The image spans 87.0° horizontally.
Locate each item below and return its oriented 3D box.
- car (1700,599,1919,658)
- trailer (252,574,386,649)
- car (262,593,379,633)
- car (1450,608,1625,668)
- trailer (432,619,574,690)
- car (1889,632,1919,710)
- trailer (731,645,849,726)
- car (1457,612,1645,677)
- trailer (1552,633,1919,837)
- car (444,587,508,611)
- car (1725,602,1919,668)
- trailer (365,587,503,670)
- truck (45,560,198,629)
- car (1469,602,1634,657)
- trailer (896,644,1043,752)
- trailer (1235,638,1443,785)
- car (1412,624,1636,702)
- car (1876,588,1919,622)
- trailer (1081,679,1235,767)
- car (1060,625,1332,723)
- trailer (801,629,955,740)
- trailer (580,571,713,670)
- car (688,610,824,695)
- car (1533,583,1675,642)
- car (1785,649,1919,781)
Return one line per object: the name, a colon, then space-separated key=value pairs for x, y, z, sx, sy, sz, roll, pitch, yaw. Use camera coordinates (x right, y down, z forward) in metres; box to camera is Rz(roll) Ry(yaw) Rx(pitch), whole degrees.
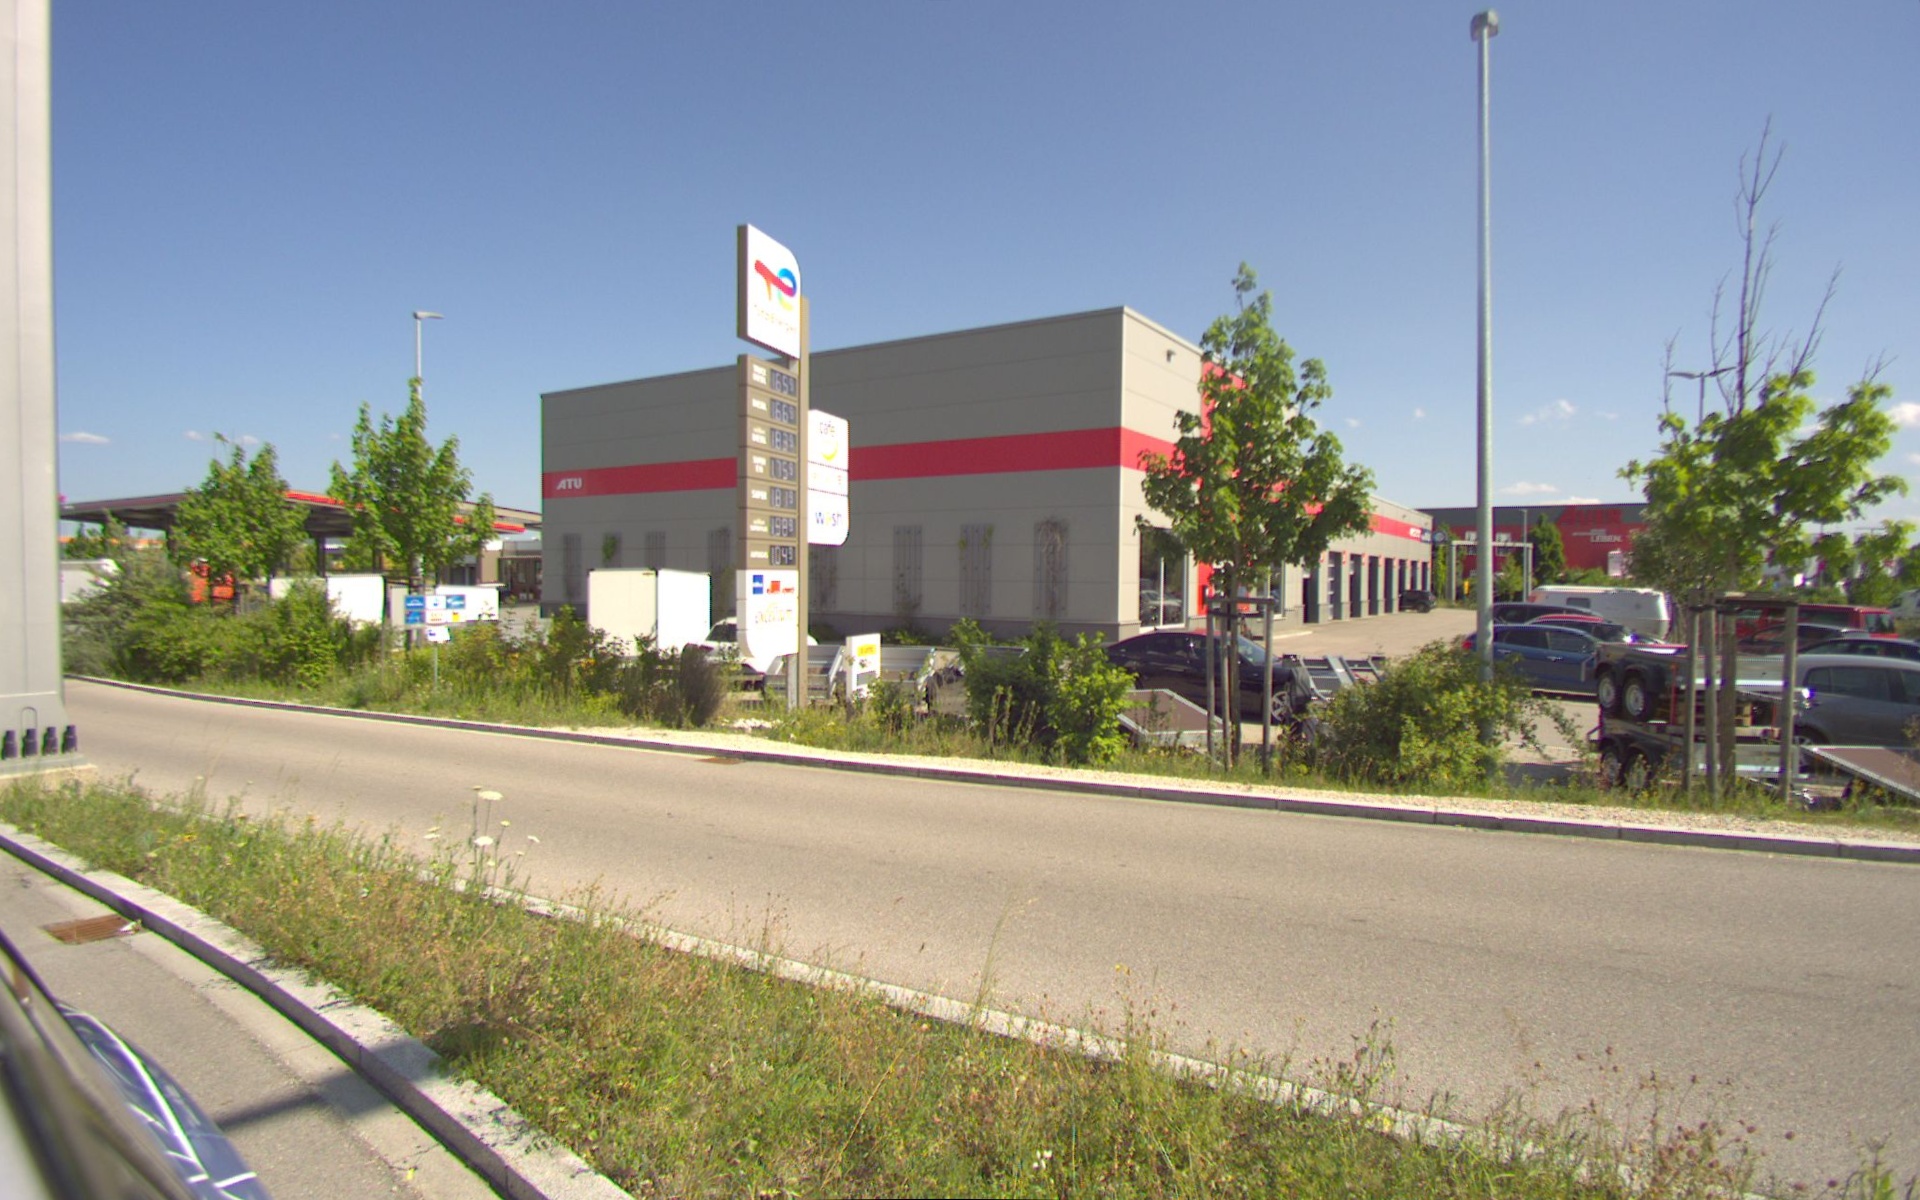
car: x=23.955 y=0.747 z=28.743 sx=1.794 sy=1.475 sz=4.470 roll=-1 pitch=1 yaw=-22
trailer: x=-18.585 y=0.292 z=29.510 sx=1.970 sy=2.029 sz=3.209 roll=-1 pitch=1 yaw=-3
car: x=-30.879 y=0.594 z=49.020 sx=1.790 sy=1.771 sz=4.473 roll=0 pitch=1 yaw=32
car: x=15.797 y=0.991 z=27.763 sx=3.993 sy=1.475 sz=1.803 roll=0 pitch=1 yaw=37
trailer: x=-11.510 y=1.327 z=25.764 sx=1.582 sy=1.521 sz=3.590 roll=-1 pitch=1 yaw=9
car: x=19.904 y=1.452 z=18.392 sx=1.794 sy=1.475 sz=4.014 roll=1 pitch=2 yaw=-22
trailer: x=-2.828 y=1.413 z=17.280 sx=1.304 sy=1.094 sz=2.771 roll=-1 pitch=1 yaw=6
car: x=15.081 y=1.070 z=25.912 sx=3.993 sy=1.475 sz=1.803 roll=0 pitch=1 yaw=37
trailer: x=8.785 y=1.379 z=11.693 sx=1.783 sy=1.785 sz=3.695 roll=-1 pitch=1 yaw=2
car: x=-33.801 y=-0.092 z=70.686 sx=1.696 sy=1.586 sz=3.635 roll=0 pitch=1 yaw=42
car: x=22.301 y=0.824 z=25.863 sx=1.794 sy=1.475 sz=4.013 roll=-1 pitch=1 yaw=-22
trailer: x=-13.784 y=0.706 z=26.676 sx=1.977 sy=2.029 sz=2.729 roll=-1 pitch=1 yaw=9
truck: x=-43.271 y=-0.320 z=52.558 sx=2.602 sy=3.343 sz=6.914 roll=-1 pitch=1 yaw=-5
car: x=17.231 y=0.809 z=29.550 sx=3.993 sy=1.475 sz=1.803 roll=0 pitch=1 yaw=37
trailer: x=0.222 y=1.435 z=15.701 sx=1.379 sy=1.332 sz=2.892 roll=-1 pitch=1 yaw=20
trailer: x=5.237 y=1.470 z=14.512 sx=1.685 sy=1.462 sz=3.696 roll=-1 pitch=4 yaw=2
car: x=11.860 y=1.259 z=21.423 sx=3.987 sy=1.475 sz=1.805 roll=0 pitch=-1 yaw=32
car: x=66.234 y=0.328 z=68.791 sx=2.010 sy=2.251 sz=6.277 roll=-1 pitch=1 yaw=-2
trailer: x=2.777 y=1.735 z=14.773 sx=1.842 sy=0.888 sz=2.834 roll=-1 pitch=1 yaw=4
car: x=4.212 y=1.253 z=18.451 sx=4.490 sy=1.495 sz=1.781 roll=-1 pitch=1 yaw=37
trailer: x=-1.252 y=1.294 z=16.672 sx=1.534 sy=1.495 sz=3.176 roll=-1 pitch=1 yaw=15
trailer: x=-6.862 y=0.401 z=22.487 sx=1.726 sy=2.029 sz=3.235 roll=-1 pitch=1 yaw=5
car: x=-4.242 y=1.046 z=21.671 sx=1.698 sy=1.547 sz=3.992 roll=-1 pitch=1 yaw=7
car: x=23.733 y=0.431 z=37.418 sx=4.336 sy=2.029 sz=1.883 roll=0 pitch=1 yaw=33
car: x=13.383 y=1.526 z=13.336 sx=3.735 sy=1.563 sz=1.724 roll=0 pitch=1 yaw=35
